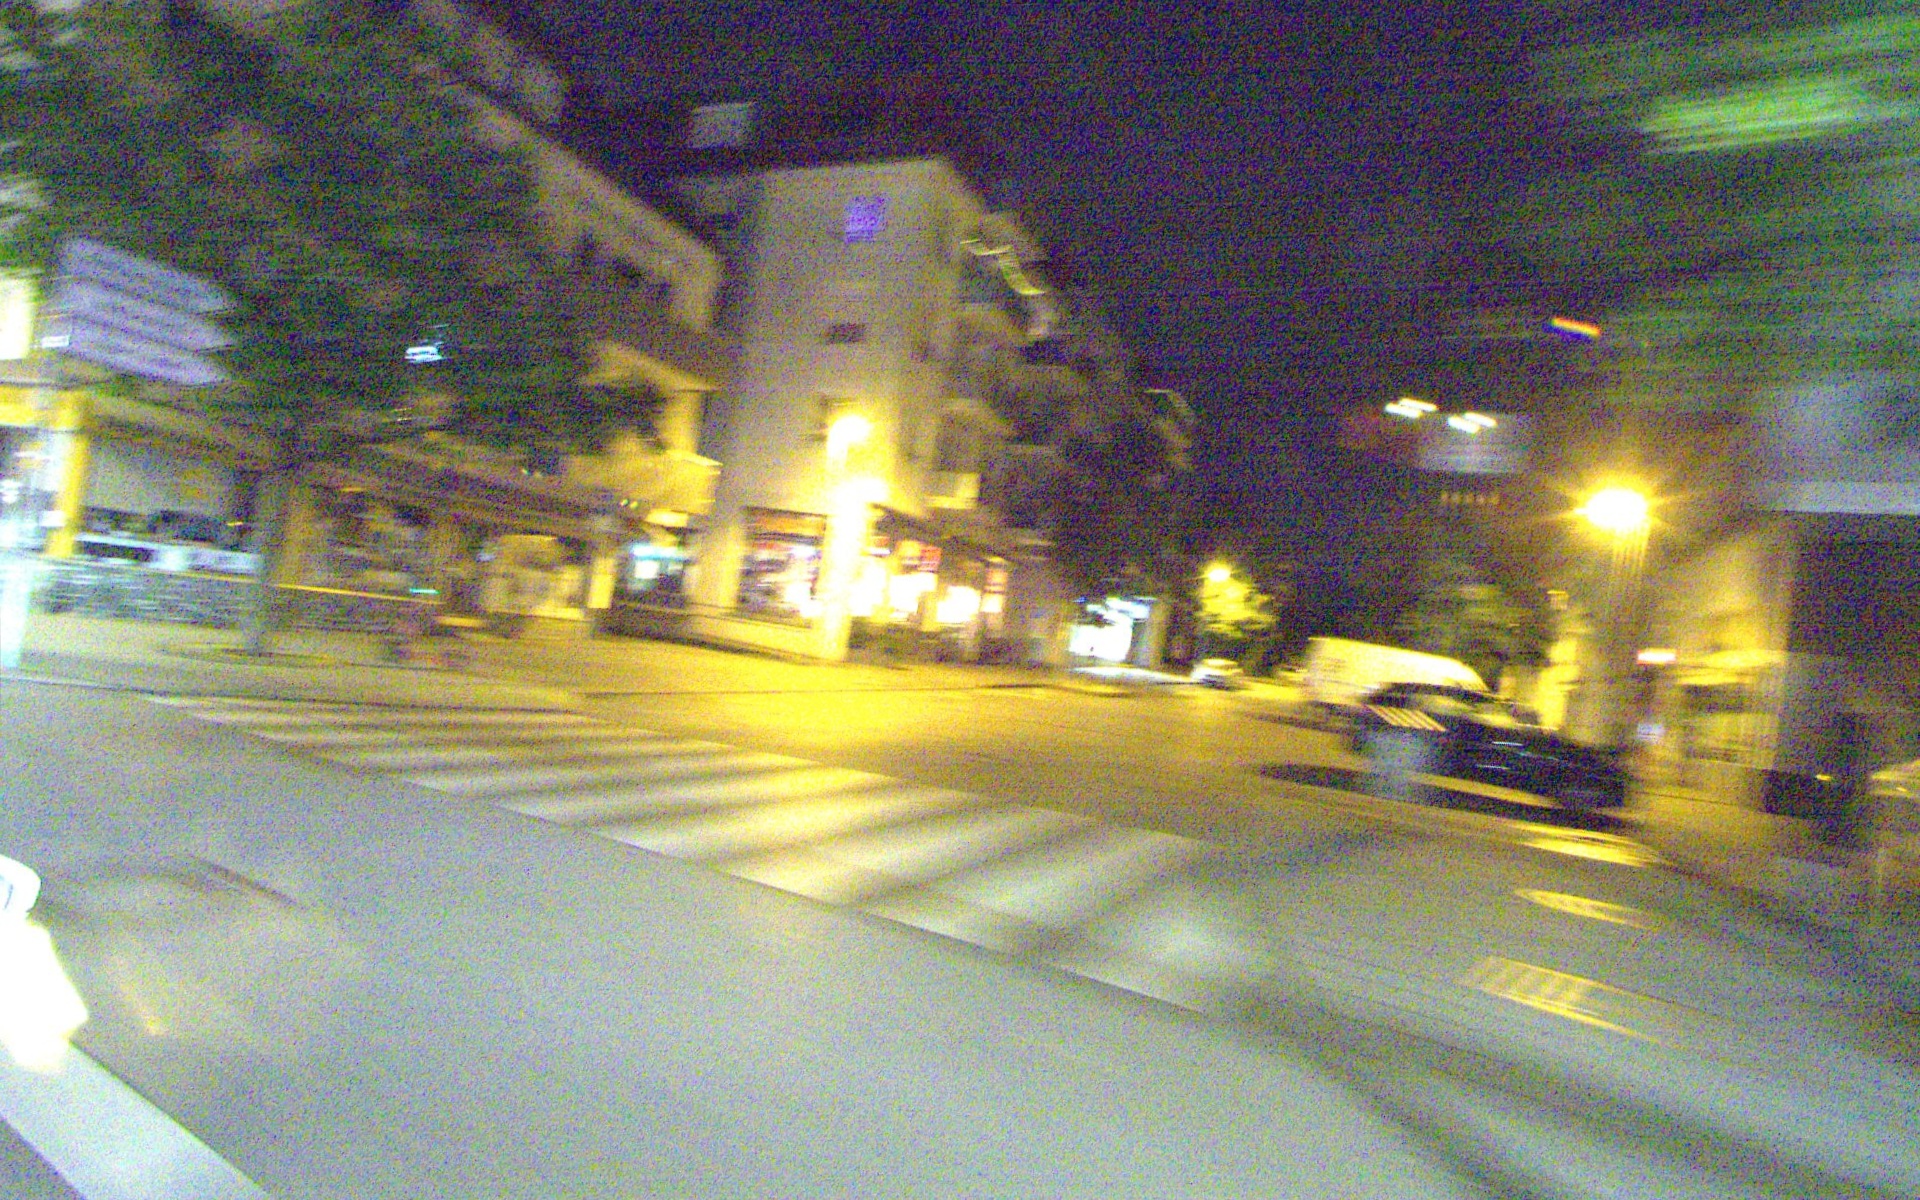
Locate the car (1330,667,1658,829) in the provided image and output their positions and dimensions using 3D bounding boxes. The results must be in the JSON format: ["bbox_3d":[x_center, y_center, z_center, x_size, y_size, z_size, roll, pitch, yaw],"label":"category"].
[{"bbox_3d":[8.419,2.292,16.281,4.261,1.679,2.001,8,-2,25],"label":"car"}]

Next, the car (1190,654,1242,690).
[{"bbox_3d":[13.539,3.773,53.019,1.963,1.572,3.734,8,0,22],"label":"car"}]

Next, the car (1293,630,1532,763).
[{"bbox_3d":[12.511,2.661,28.361,5.623,2.677,2.538,8,-2,19],"label":"car"}]

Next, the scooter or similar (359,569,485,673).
[{"bbox_3d":[-7.457,0.305,13.976,0.589,1.241,1.248,9,-2,35],"label":"scooter or similar"}]
